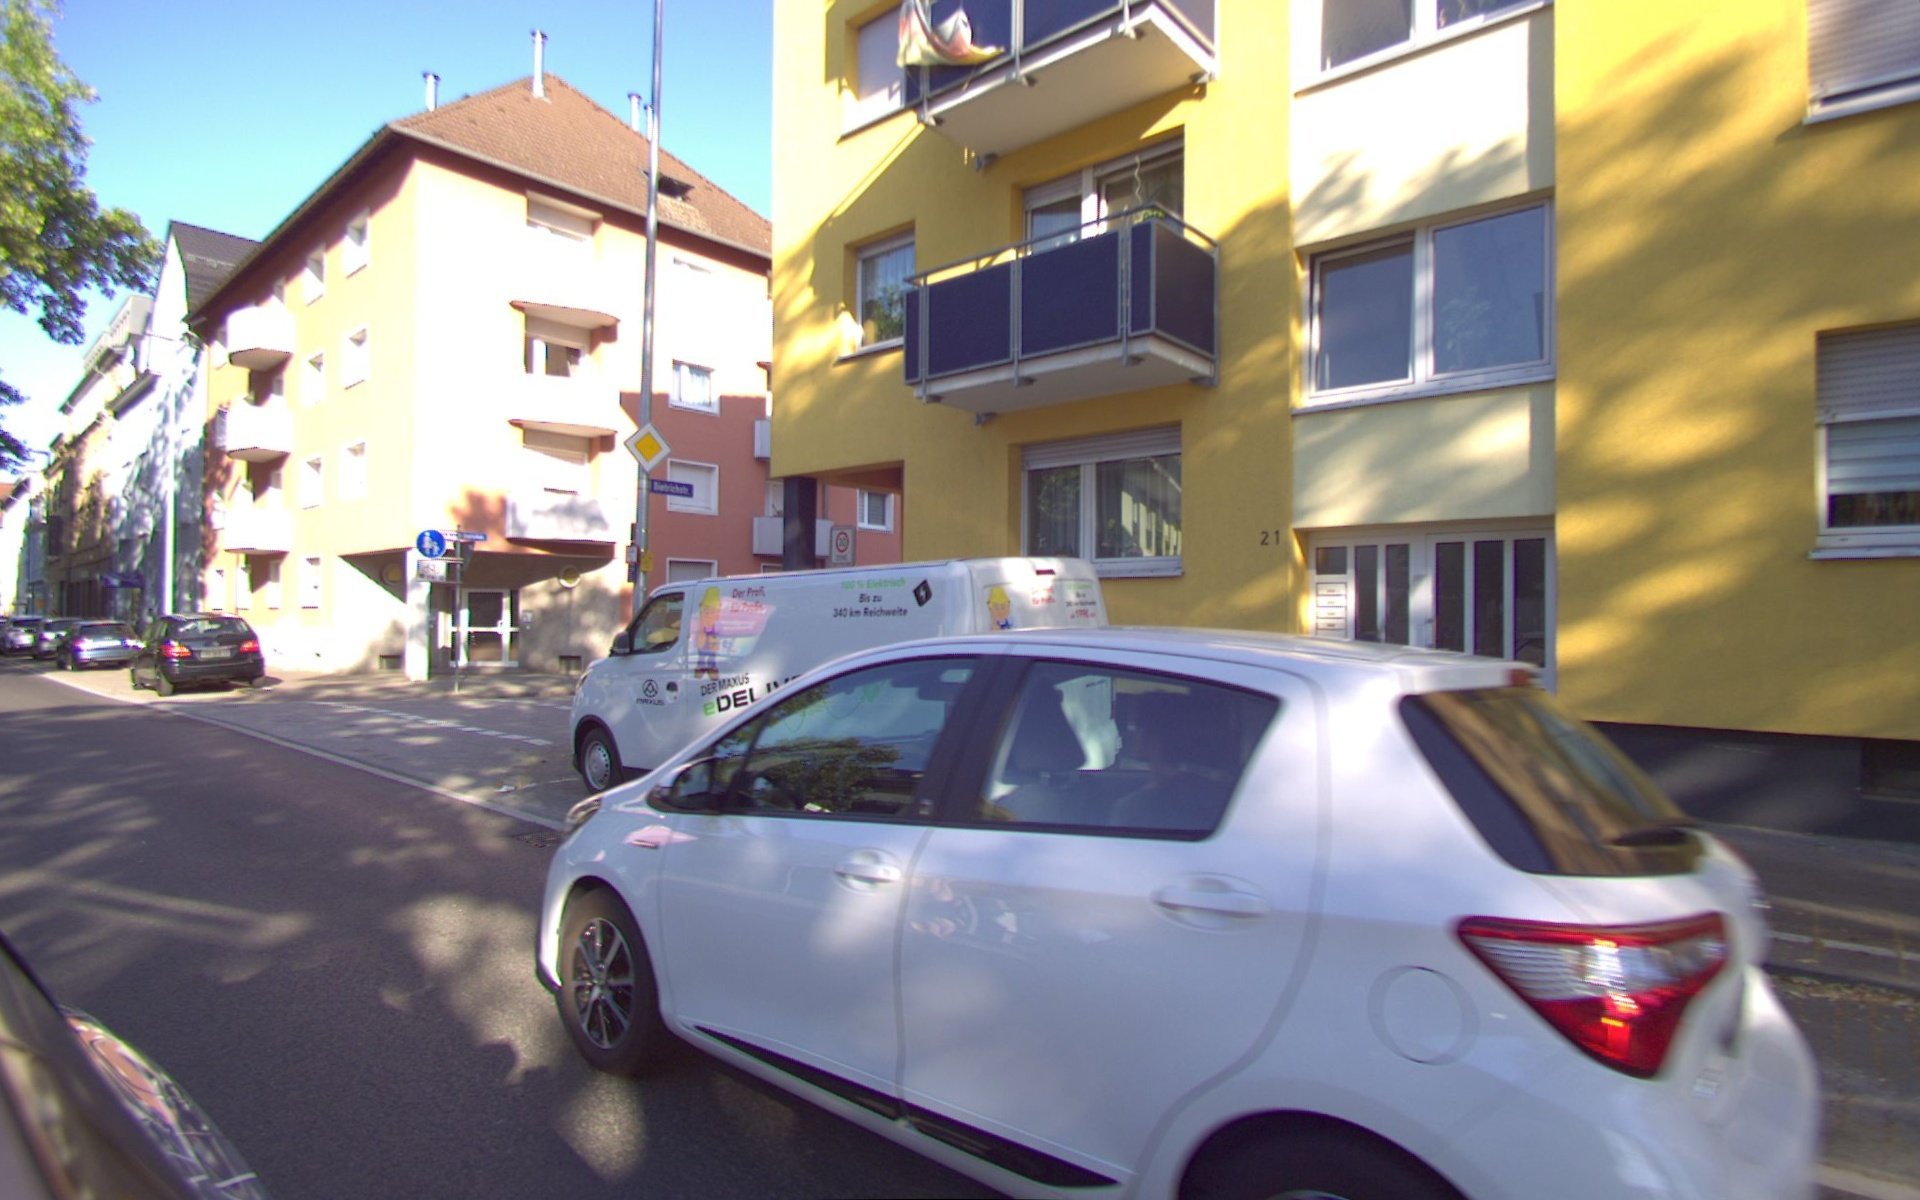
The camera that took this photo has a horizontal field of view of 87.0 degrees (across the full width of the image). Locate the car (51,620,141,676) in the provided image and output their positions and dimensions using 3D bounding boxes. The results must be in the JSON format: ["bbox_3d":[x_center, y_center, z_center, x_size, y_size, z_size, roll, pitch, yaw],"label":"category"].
[{"bbox_3d":[-25.682,1.378,30.059,3.601,1.497,1.659,-1,0,43],"label":"car"}]

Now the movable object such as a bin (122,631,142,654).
[{"bbox_3d":[-35.023,1.791,42.813,0.669,0.954,0.551,-1,-3,43],"label":"movable object such as a bin"}]

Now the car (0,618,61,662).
[{"bbox_3d":[-37.892,1.585,40.939,4.577,1.654,1.887,-1,0,43],"label":"car"}]

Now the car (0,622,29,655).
[{"bbox_3d":[-45.770,1.817,48.351,3.872,1.507,1.659,-1,0,43],"label":"car"}]

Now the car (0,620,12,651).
[{"bbox_3d":[-50.406,1.836,52.404,4.200,1.597,1.659,-1,0,43],"label":"car"}]

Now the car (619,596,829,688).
[{"bbox_3d":[-5.619,0.990,24.577,1.920,2.029,4.694,-1,-2,43],"label":"car"}]

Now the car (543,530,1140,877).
[{"bbox_3d":[-1.272,0.614,8.010,5.208,1.921,1.715,-1,-1,42],"label":"car"}]

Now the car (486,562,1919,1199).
[{"bbox_3d":[0.262,0.761,3.035,3.932,1.535,1.622,-1,-2,41],"label":"car"}]

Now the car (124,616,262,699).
[{"bbox_3d":[-16.093,1.129,21.168,4.021,1.535,1.659,-1,0,43],"label":"car"}]

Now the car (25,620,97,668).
[{"bbox_3d":[-33.283,1.594,37.438,3.985,1.654,1.659,-1,0,43],"label":"car"}]
